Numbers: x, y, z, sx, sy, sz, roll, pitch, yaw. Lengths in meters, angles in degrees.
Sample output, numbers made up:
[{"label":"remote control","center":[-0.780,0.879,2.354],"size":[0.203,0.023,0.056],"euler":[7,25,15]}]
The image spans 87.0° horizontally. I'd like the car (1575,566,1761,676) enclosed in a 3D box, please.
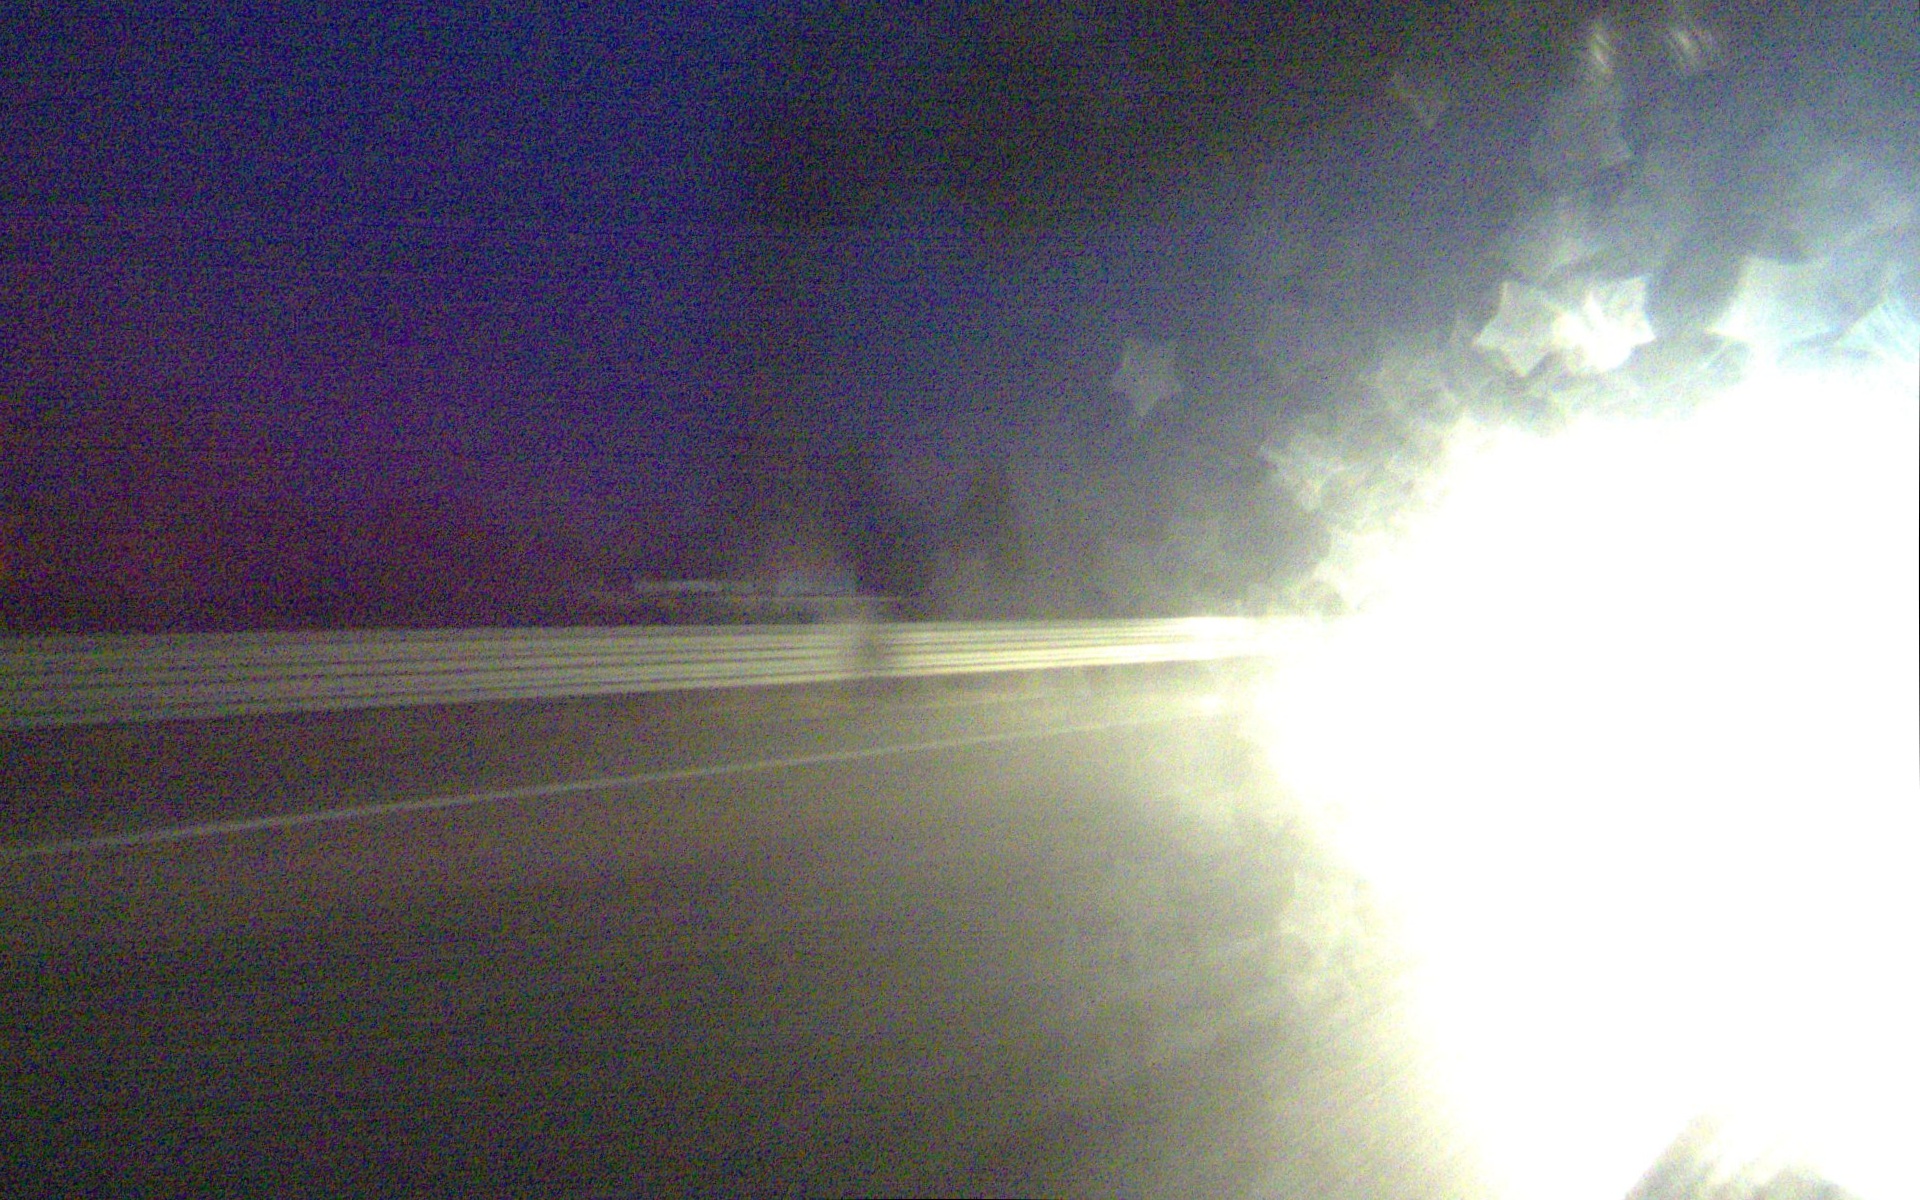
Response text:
[{"label":"car","center":[13.738,0.377,19.537],"size":[4.615,1.870,1.830],"euler":[1,-1,-40]}]
